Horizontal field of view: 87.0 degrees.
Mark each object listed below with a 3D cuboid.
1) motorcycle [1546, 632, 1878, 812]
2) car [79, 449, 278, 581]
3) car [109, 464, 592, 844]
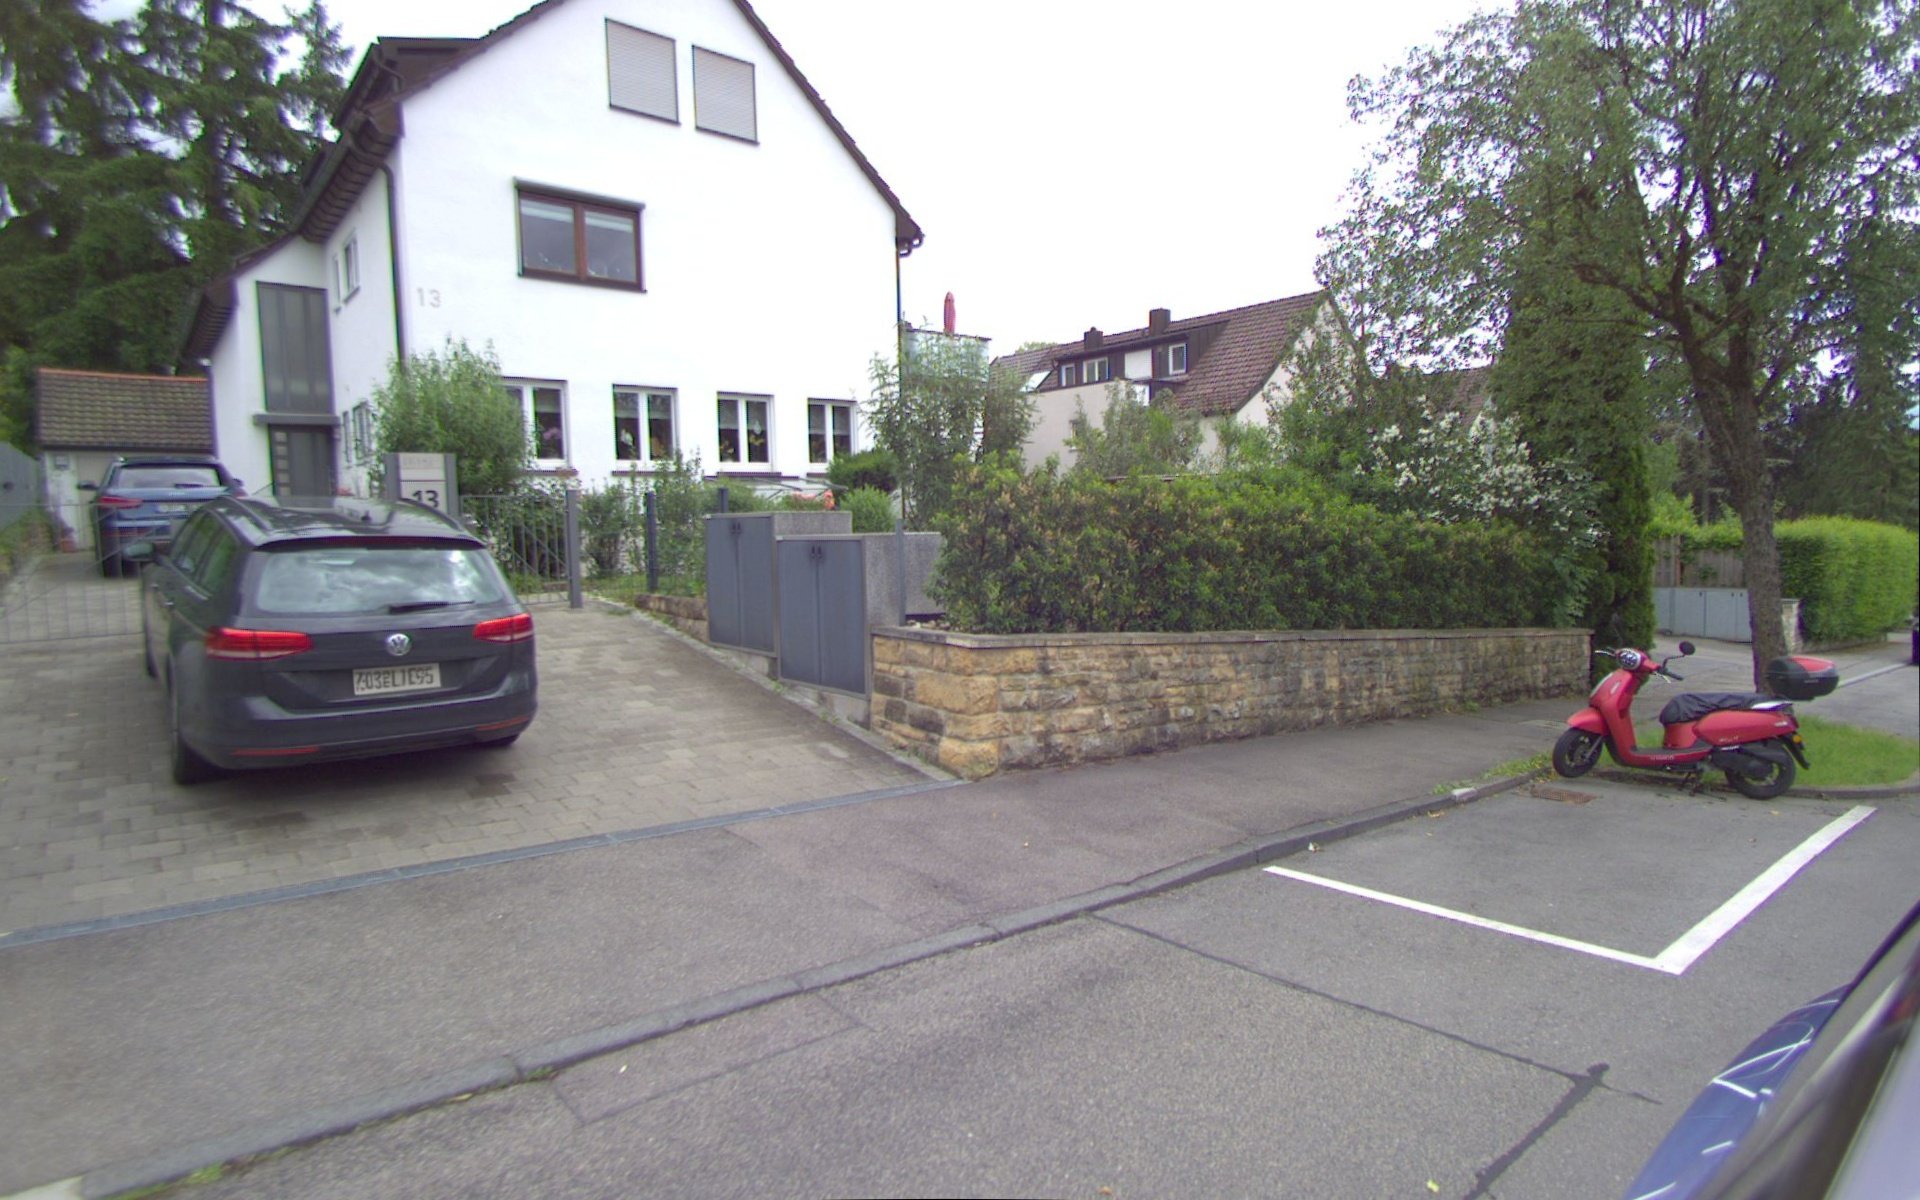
[{"bbox_3d":[5.721,0.888,7.854,1.918,1.147,0.655,2,2,23],"label":"motorcycle"},{"bbox_3d":[-11.561,-1.271,14.863,1.966,1.654,3.995,0,6,-43],"label":"car"},{"bbox_3d":[-4.141,0.041,6.545,1.821,1.521,3.995,-2,9,-44],"label":"car"}]
